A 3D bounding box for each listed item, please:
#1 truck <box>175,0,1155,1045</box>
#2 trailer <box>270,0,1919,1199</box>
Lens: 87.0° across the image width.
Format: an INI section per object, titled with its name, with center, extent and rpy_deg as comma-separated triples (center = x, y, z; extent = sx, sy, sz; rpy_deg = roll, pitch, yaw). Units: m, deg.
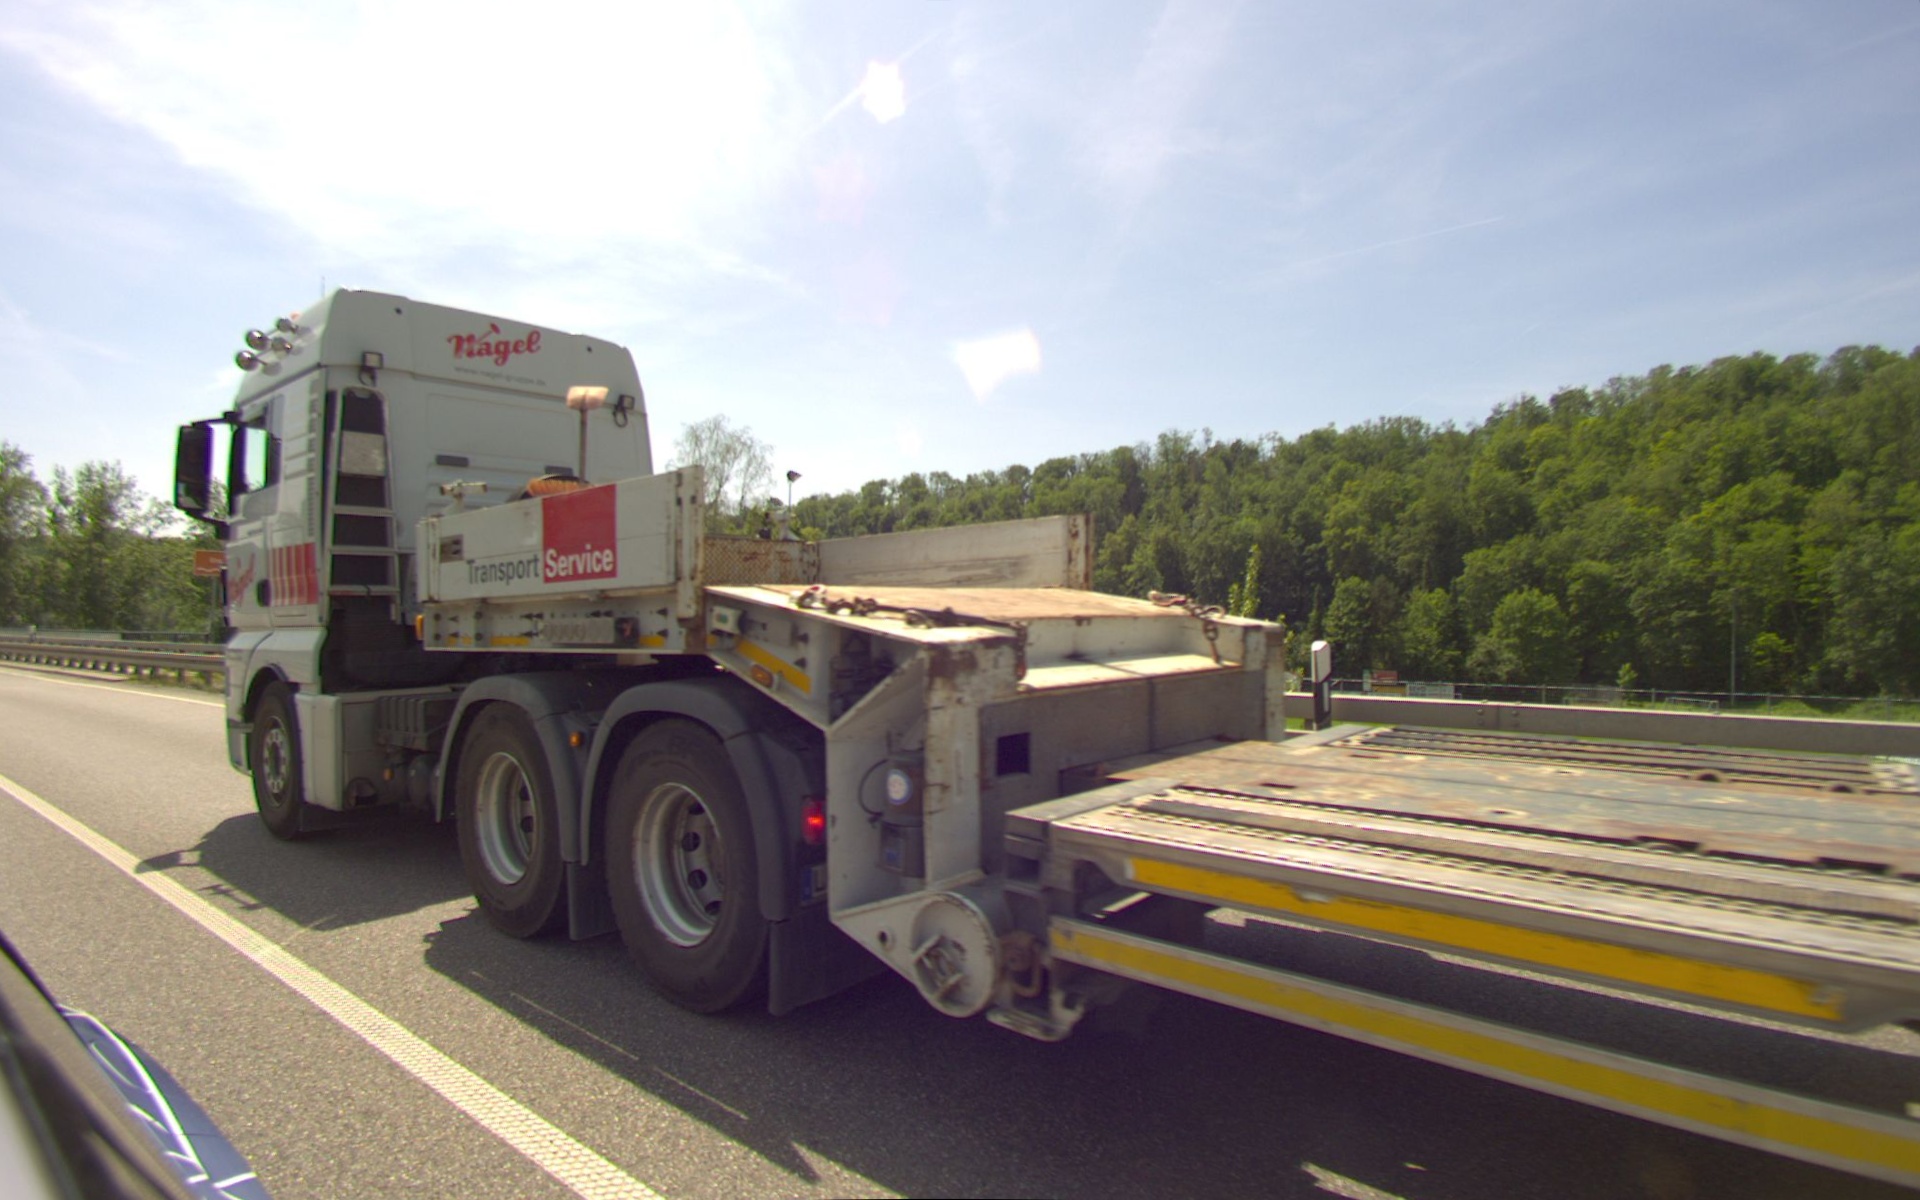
[truck]
center = -2.421, -0.522, 6.616
extent = 6.619, 3.988, 3.086
rpy_deg = -1, -1, 41
[trailer]
center = 2.589, -0.631, 2.229
extent = 15.349, 4.010, 3.086
rpy_deg = -1, -1, 41
